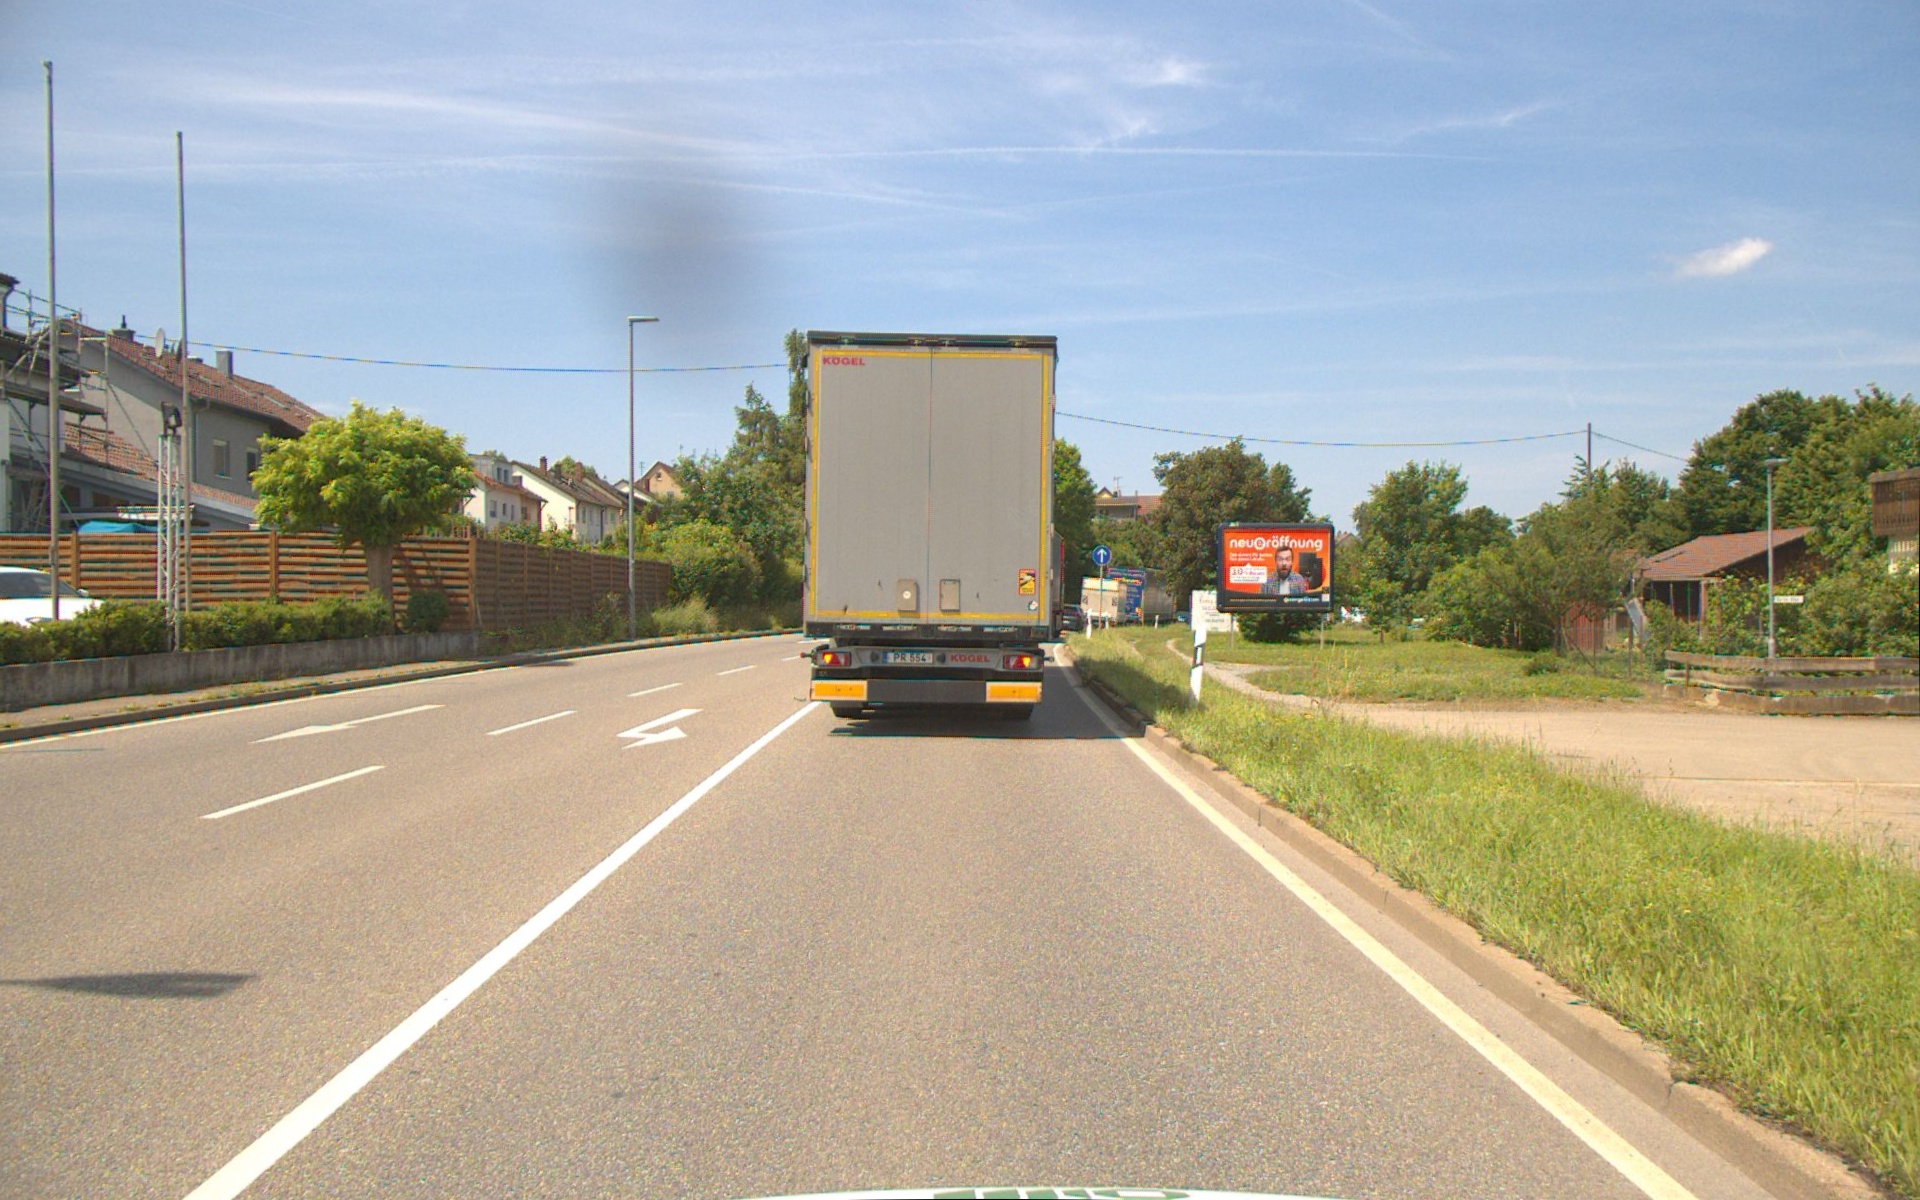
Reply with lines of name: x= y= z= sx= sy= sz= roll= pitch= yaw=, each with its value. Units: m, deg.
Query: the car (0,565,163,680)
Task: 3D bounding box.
car: x=-13.405 y=0.272 z=23.041 sx=4.242 sy=1.473 sz=1.856 roll=1 pitch=-1 yaw=25

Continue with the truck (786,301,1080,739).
truck: x=-0.328 y=-0.790 z=21.842 sx=2.765 sy=4.200 sz=11.441 roll=1 pitch=0 yaw=-1

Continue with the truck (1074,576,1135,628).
truck: x=8.413 y=0.161 z=95.550 sx=2.489 sy=2.852 sz=6.036 roll=1 pitch=-1 yaw=15

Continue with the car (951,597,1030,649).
car: x=0.915 y=0.639 z=47.016 sx=1.780 sy=1.370 sz=3.850 roll=1 pitch=-1 yaw=8

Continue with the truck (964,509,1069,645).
truck: x=2.381 y=-0.654 z=62.173 sx=2.702 sy=4.364 sz=16.425 roll=1 pitch=-1 yaw=6

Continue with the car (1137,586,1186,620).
car: x=14.470 y=0.179 z=118.366 sx=2.478 sy=2.317 sz=6.385 roll=1 pitch=0 yaw=16

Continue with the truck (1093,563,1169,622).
truck: x=11.231 y=-0.503 z=107.717 sx=3.360 sy=3.667 sz=9.360 roll=1 pitch=1 yaw=15

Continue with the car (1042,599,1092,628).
car: x=5.402 y=0.683 z=83.090 sx=1.951 sy=1.400 sz=4.003 roll=1 pitch=-1 yaw=12

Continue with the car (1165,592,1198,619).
car: x=17.253 y=0.435 z=128.722 sx=1.951 sy=2.049 sz=4.002 roll=1 pitch=-1 yaw=16
